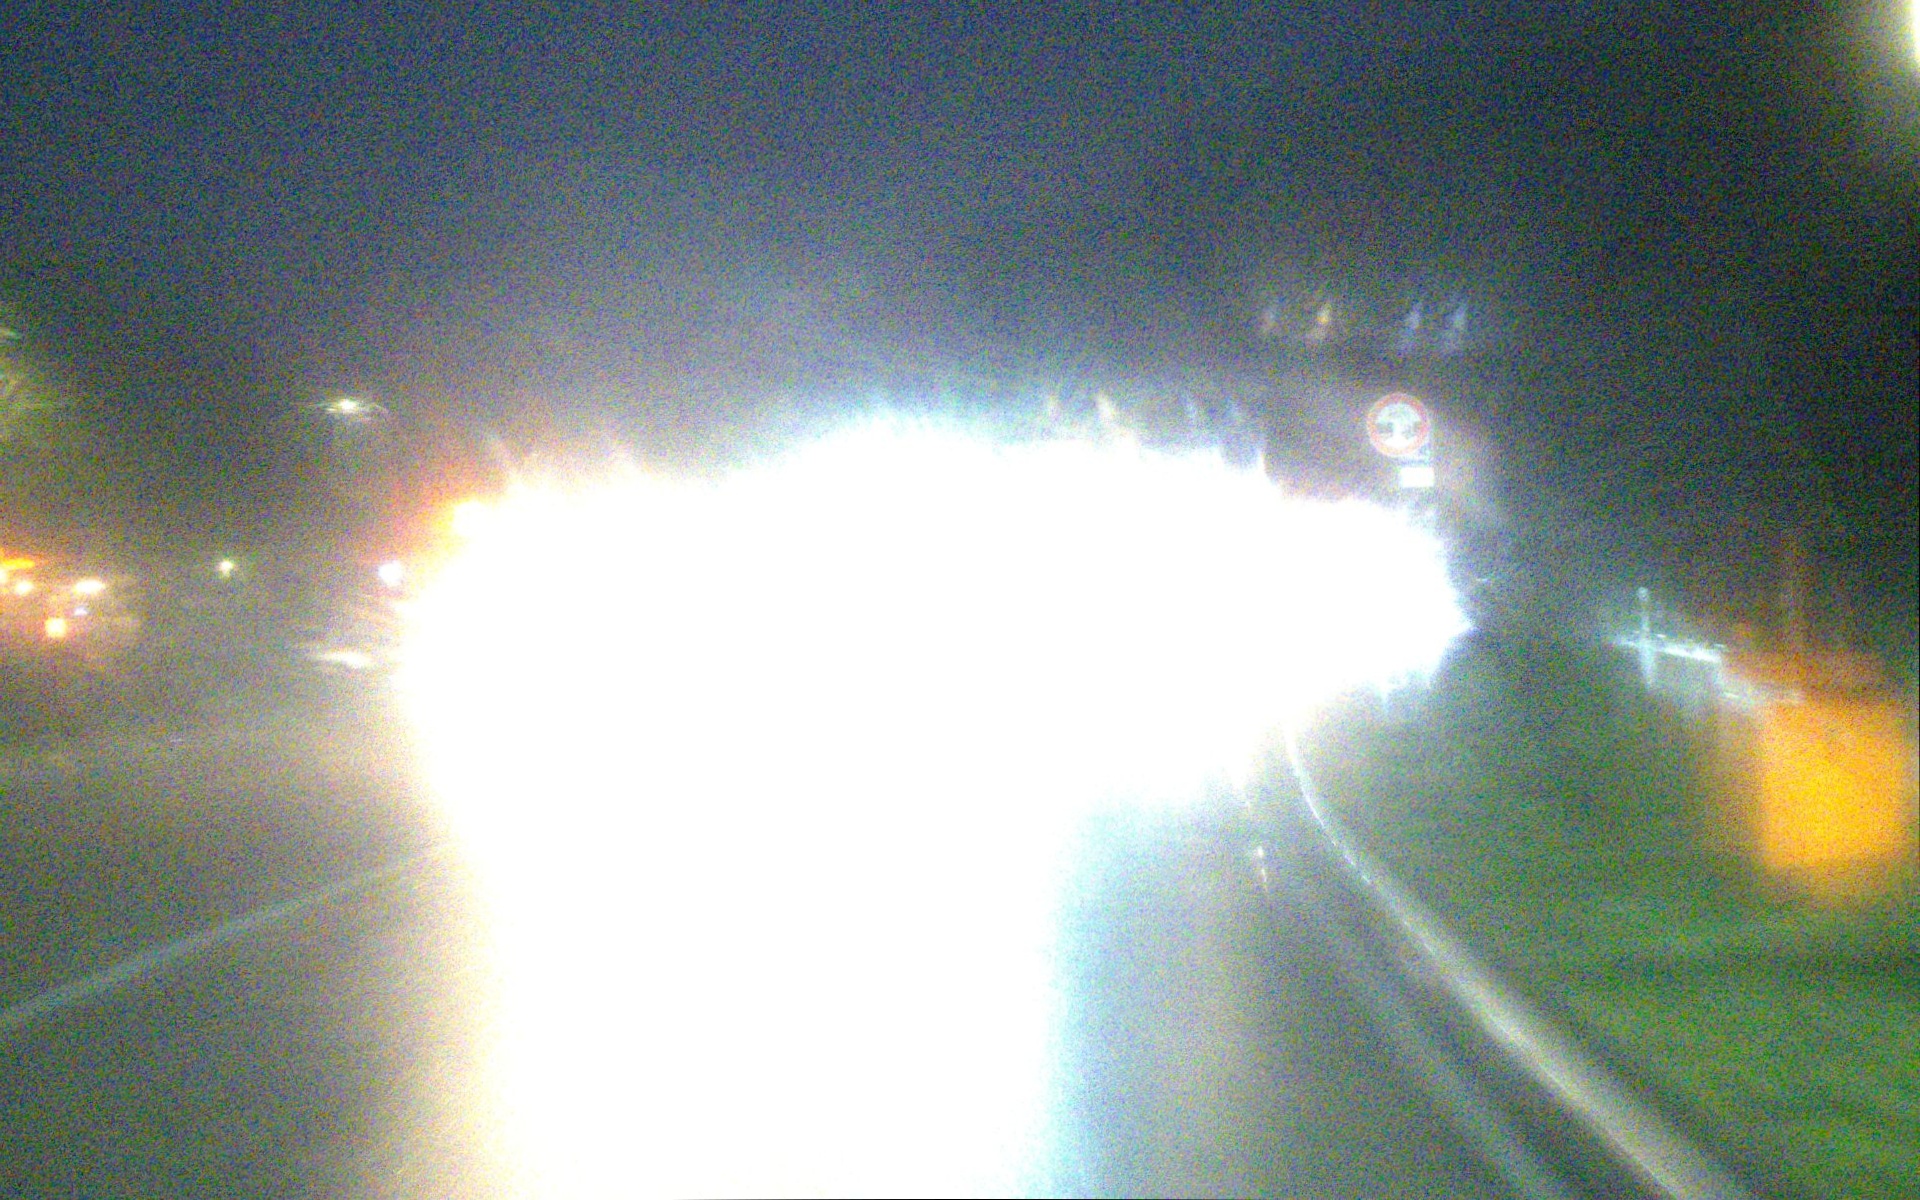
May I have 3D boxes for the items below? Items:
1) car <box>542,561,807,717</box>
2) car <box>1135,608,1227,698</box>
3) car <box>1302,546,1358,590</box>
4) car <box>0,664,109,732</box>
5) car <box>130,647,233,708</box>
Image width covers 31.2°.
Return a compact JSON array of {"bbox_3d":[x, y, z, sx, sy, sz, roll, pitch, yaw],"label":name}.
[{"bbox_3d":[-2.608,0.318,32.305,1.635,1.350,4.141,0,1,8],"label":"car"},{"bbox_3d":[5.592,1.297,86.529,1.892,1.995,4.879,3,2,8],"label":"car"},{"bbox_3d":[11.888,-1.011,110.301,1.591,1.375,4.323,1,0,8],"label":"car"},{"bbox_3d":[-24.310,2.605,92.413,1.746,1.612,3.513,-4,0,3],"label":"car"},{"bbox_3d":[-23.538,2.331,104.044,1.772,1.590,3.999,-6,0,5],"label":"car"}]
